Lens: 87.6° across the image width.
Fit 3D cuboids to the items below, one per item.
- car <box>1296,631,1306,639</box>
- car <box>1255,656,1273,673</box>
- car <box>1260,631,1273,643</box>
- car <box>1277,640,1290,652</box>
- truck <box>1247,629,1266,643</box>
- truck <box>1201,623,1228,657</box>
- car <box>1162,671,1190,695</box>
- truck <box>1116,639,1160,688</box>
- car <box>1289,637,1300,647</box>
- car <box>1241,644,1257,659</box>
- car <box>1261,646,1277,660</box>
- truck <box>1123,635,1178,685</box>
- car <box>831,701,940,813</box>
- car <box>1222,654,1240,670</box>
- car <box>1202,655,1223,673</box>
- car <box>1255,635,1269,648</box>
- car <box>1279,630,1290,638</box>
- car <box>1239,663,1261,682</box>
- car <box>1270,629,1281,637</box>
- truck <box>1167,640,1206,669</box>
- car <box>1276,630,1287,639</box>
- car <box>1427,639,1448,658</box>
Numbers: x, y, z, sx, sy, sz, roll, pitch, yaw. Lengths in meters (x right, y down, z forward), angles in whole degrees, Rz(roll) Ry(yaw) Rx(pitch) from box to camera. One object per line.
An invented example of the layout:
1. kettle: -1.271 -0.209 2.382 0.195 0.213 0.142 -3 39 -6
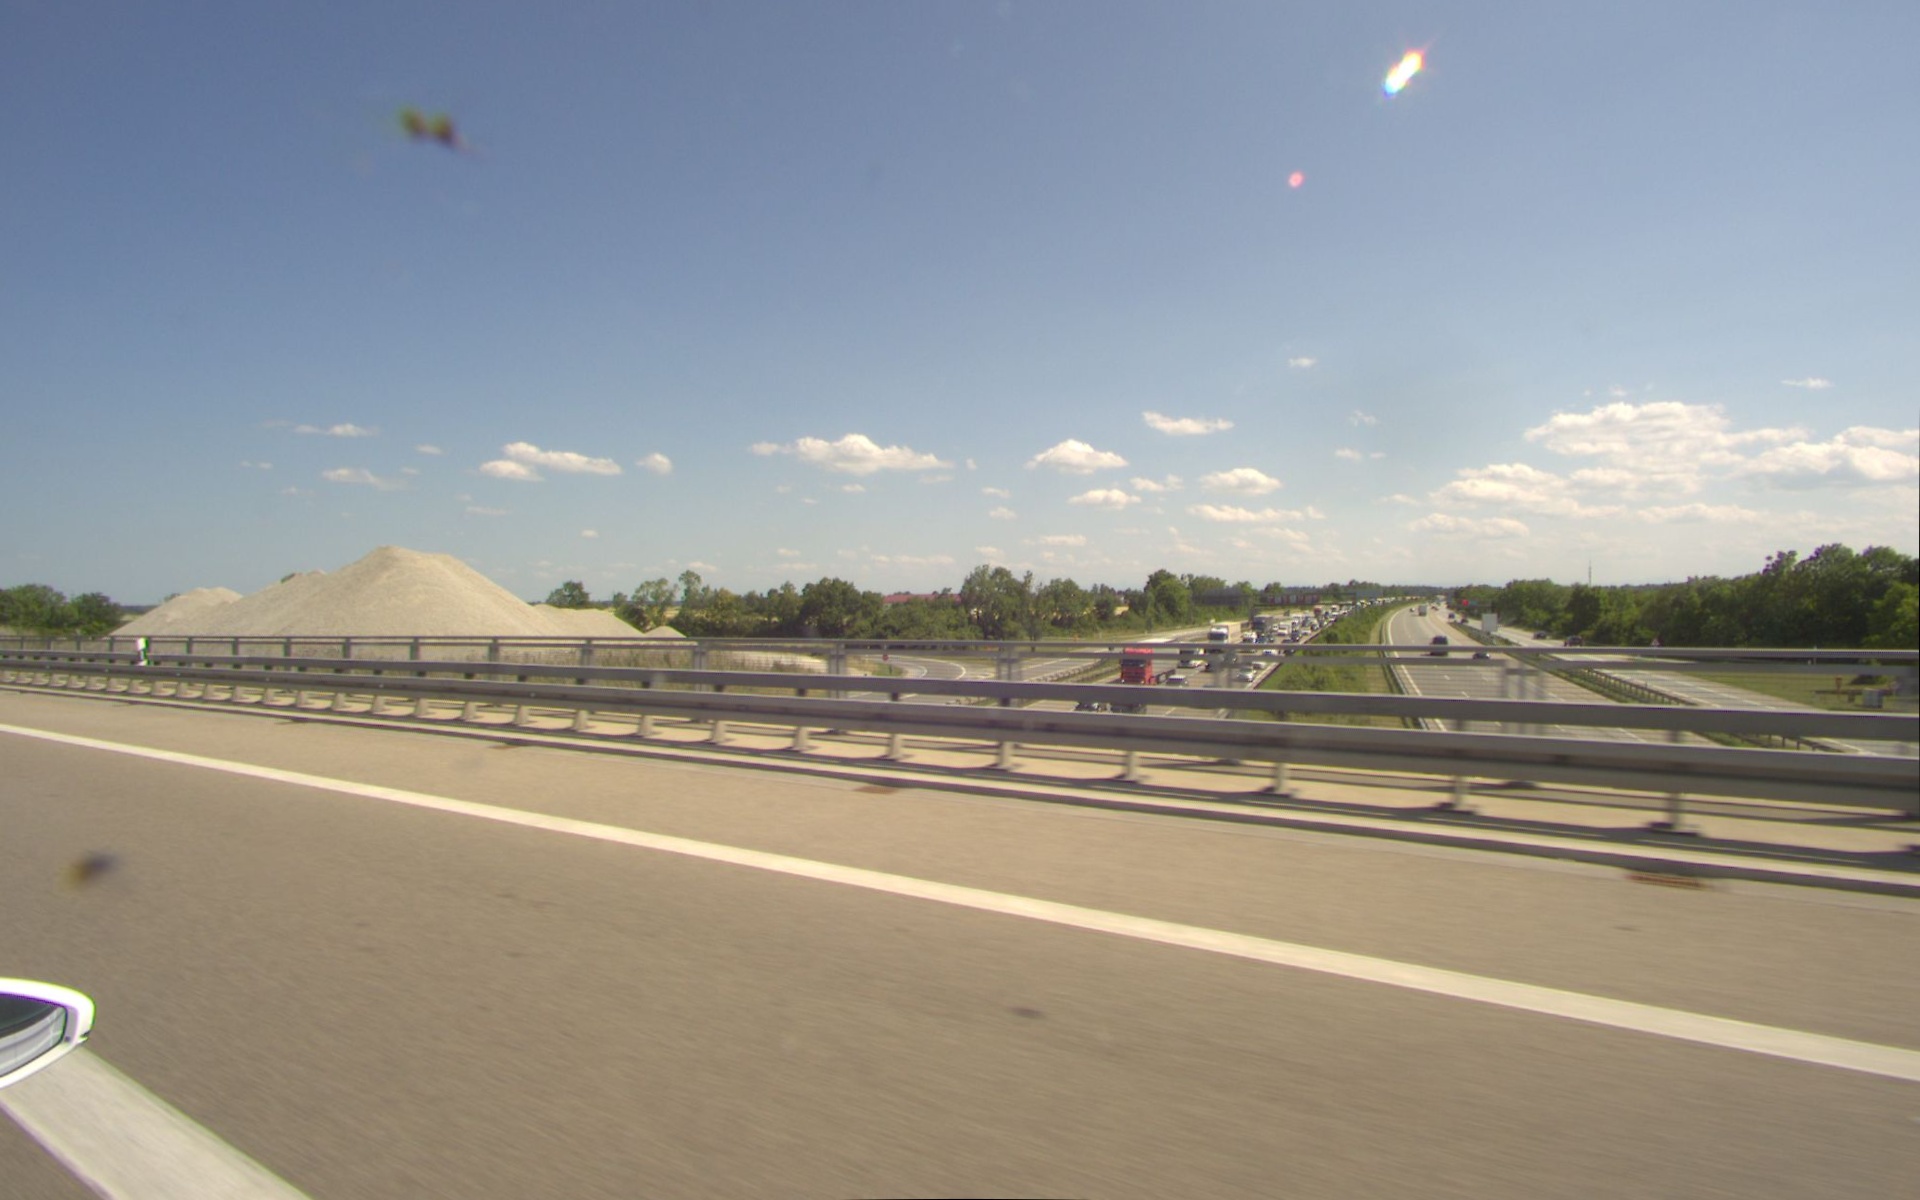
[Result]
1. car: 71.509 7.316 209.865 1.965 1.631 4.687 0 -1 20
2. car: 36.113 7.616 118.952 1.829 1.757 4.337 0 -1 20
3. car: 55.235 6.582 180.433 1.965 2.040 4.687 0 -1 20
4. car: 52.412 7.470 162.215 1.829 1.757 4.337 0 -1 20
5. truck: 58.359 7.001 197.253 3.097 2.564 6.648 0 -1 21
6. truck: 38.027 5.923 149.507 3.097 4.836 8.226 0 -1 21
7. car: 19.103 7.304 88.340 1.829 1.757 4.337 0 -1 20
8. truck: 16.690 5.877 93.710 2.821 4.119 5.940 0 1 23
9. car: 60.759 7.592 181.942 1.829 1.757 4.337 0 -1 20
10. car: 43.341 7.742 149.943 1.965 2.040 4.687 0 -1 20
11. car: 42.676 7.296 138.257 1.829 1.757 4.337 0 -1 20
12. truck: 19.053 5.817 99.409 2.821 4.119 12.541 0 1 22
13. car: -3.011 6.389 41.808 2.442 4.014 5.147 0 -2 24
14. car: 34.218 7.834 126.433 1.829 1.757 4.337 0 -1 20
15. car: 28.711 7.262 113.922 1.829 1.757 4.337 0 -1 20
16. car: 49.802 6.777 165.101 1.965 2.040 4.687 0 -1 20
17. car: 68.126 7.114 210.159 1.965 1.631 4.687 0 -1 20
18. car: 29.892 7.451 103.080 1.829 1.757 4.337 0 -1 20
19. car: 70.464 7.292 223.685 1.965 1.631 4.687 0 -1 20
20. truck: 27.738 6.566 122.254 3.098 3.099 10.023 0 -1 22
21. car: 65.629 7.037 204.455 1.965 1.631 4.687 0 -1 20
22. car: 65.450 6.635 137.238 2.102 2.479 5.040 0 -1 20
